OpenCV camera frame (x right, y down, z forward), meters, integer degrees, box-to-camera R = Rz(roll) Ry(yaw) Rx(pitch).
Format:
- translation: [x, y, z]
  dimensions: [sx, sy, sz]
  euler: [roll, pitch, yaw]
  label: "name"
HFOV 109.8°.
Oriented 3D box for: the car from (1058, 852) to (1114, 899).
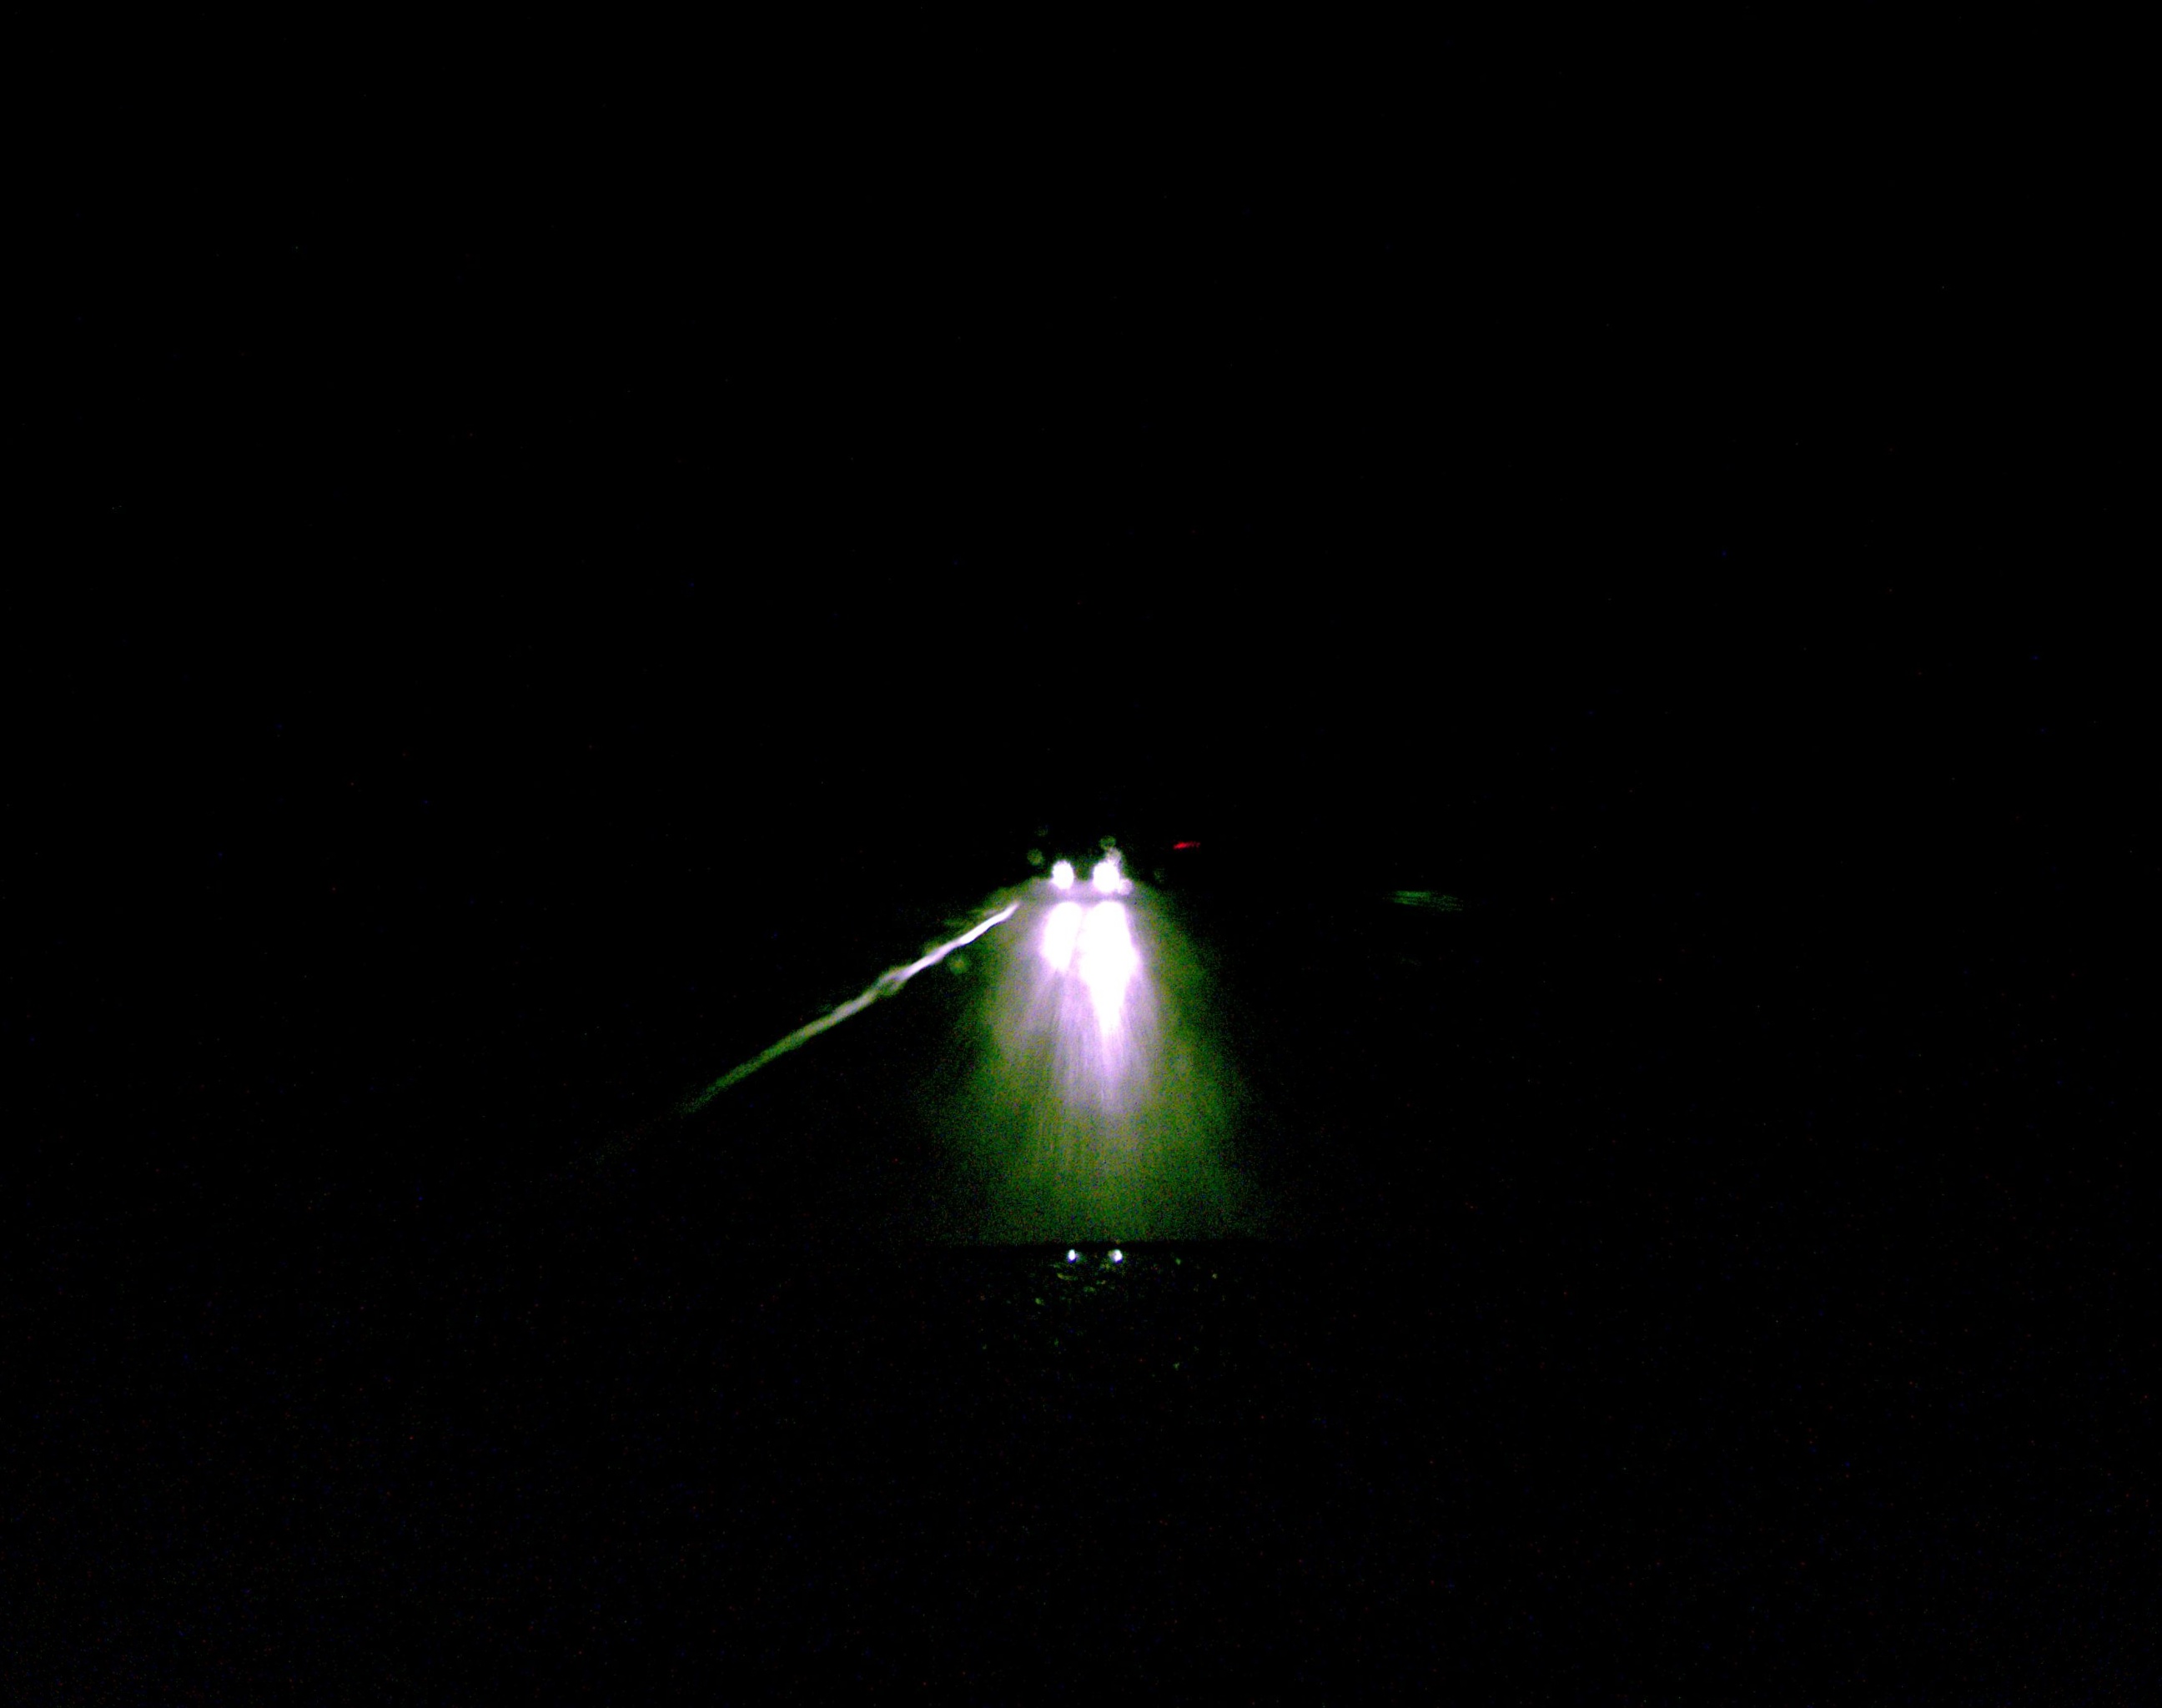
- translation: [0.248, 0.798, 28.791]
  dimensions: [1.792, 1.593, 4.002]
  euler: [-3, -1, 4]
  label: "car"
